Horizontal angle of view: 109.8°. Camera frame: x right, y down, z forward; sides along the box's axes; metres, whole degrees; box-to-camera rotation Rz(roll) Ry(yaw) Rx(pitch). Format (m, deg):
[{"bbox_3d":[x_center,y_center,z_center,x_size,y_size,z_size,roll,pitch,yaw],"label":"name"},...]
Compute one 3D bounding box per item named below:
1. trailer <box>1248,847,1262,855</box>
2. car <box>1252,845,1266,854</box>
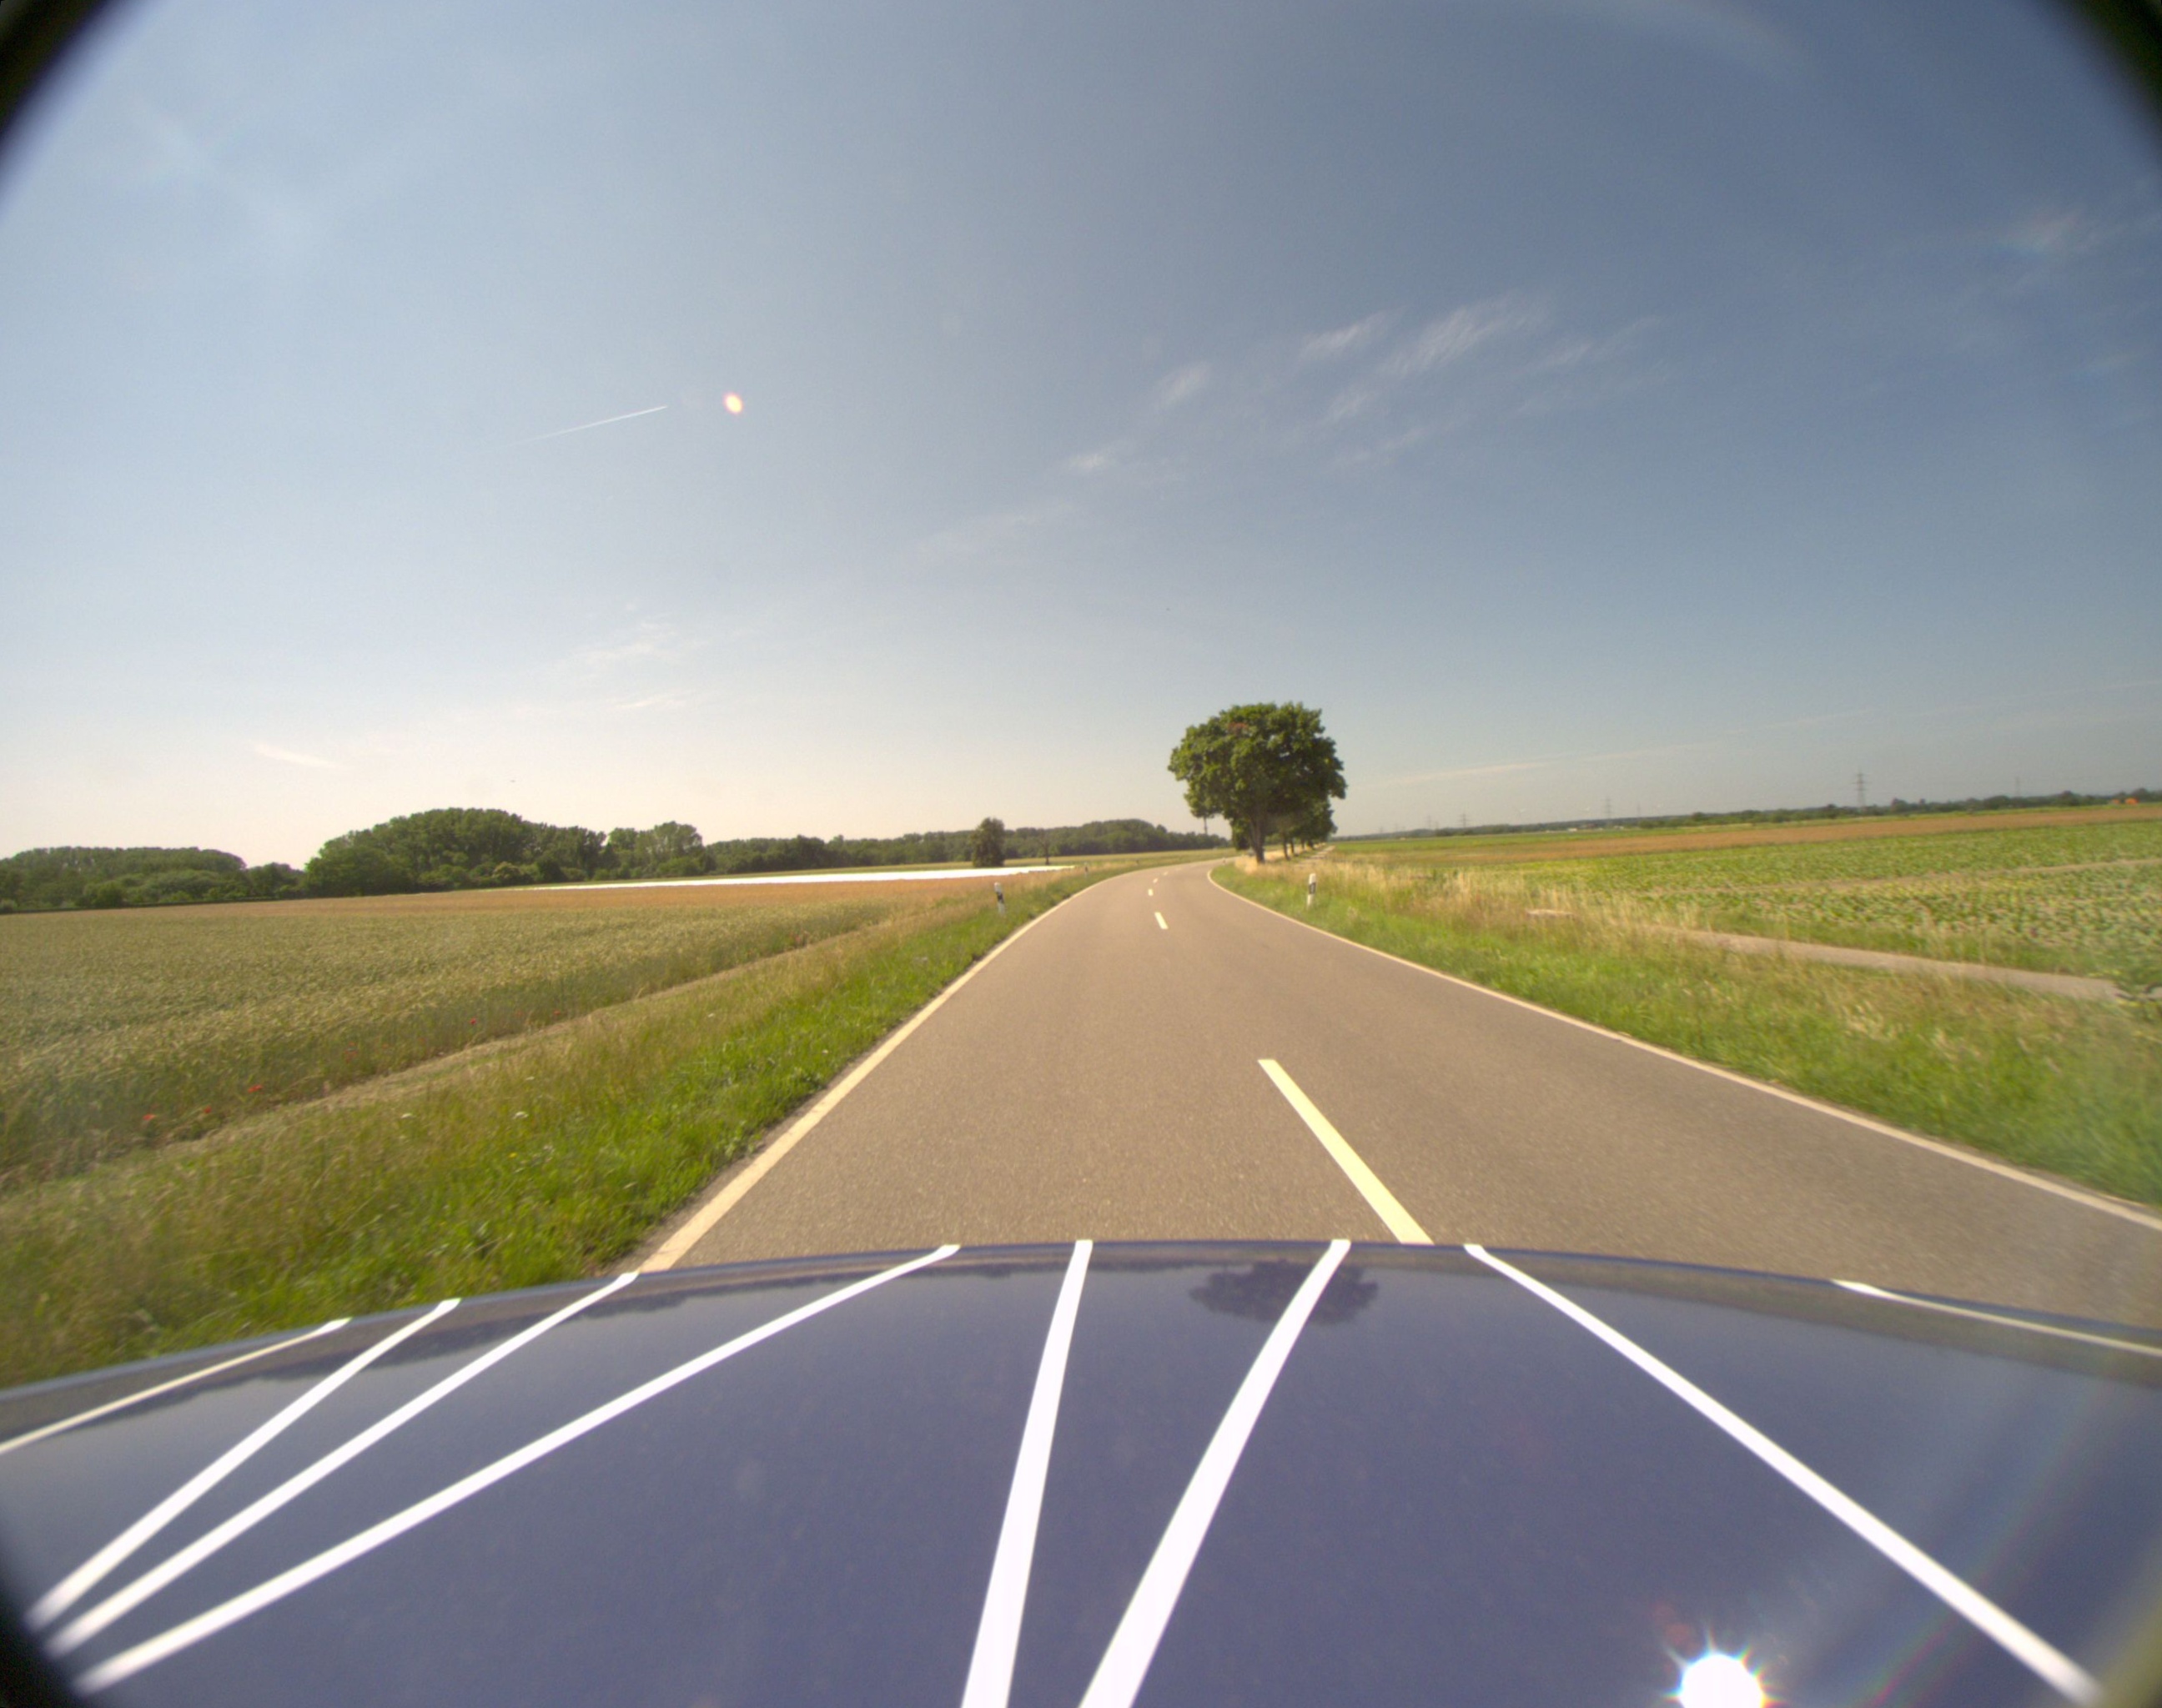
[{"bbox_3d":[26.602,-0.453,116.065,1.624,1.059,4.125,1,1,20],"label":"trailer"},{"bbox_3d":[28.115,-0.717,119.950,1.645,1.421,4.186,0,1,20],"label":"car"}]
